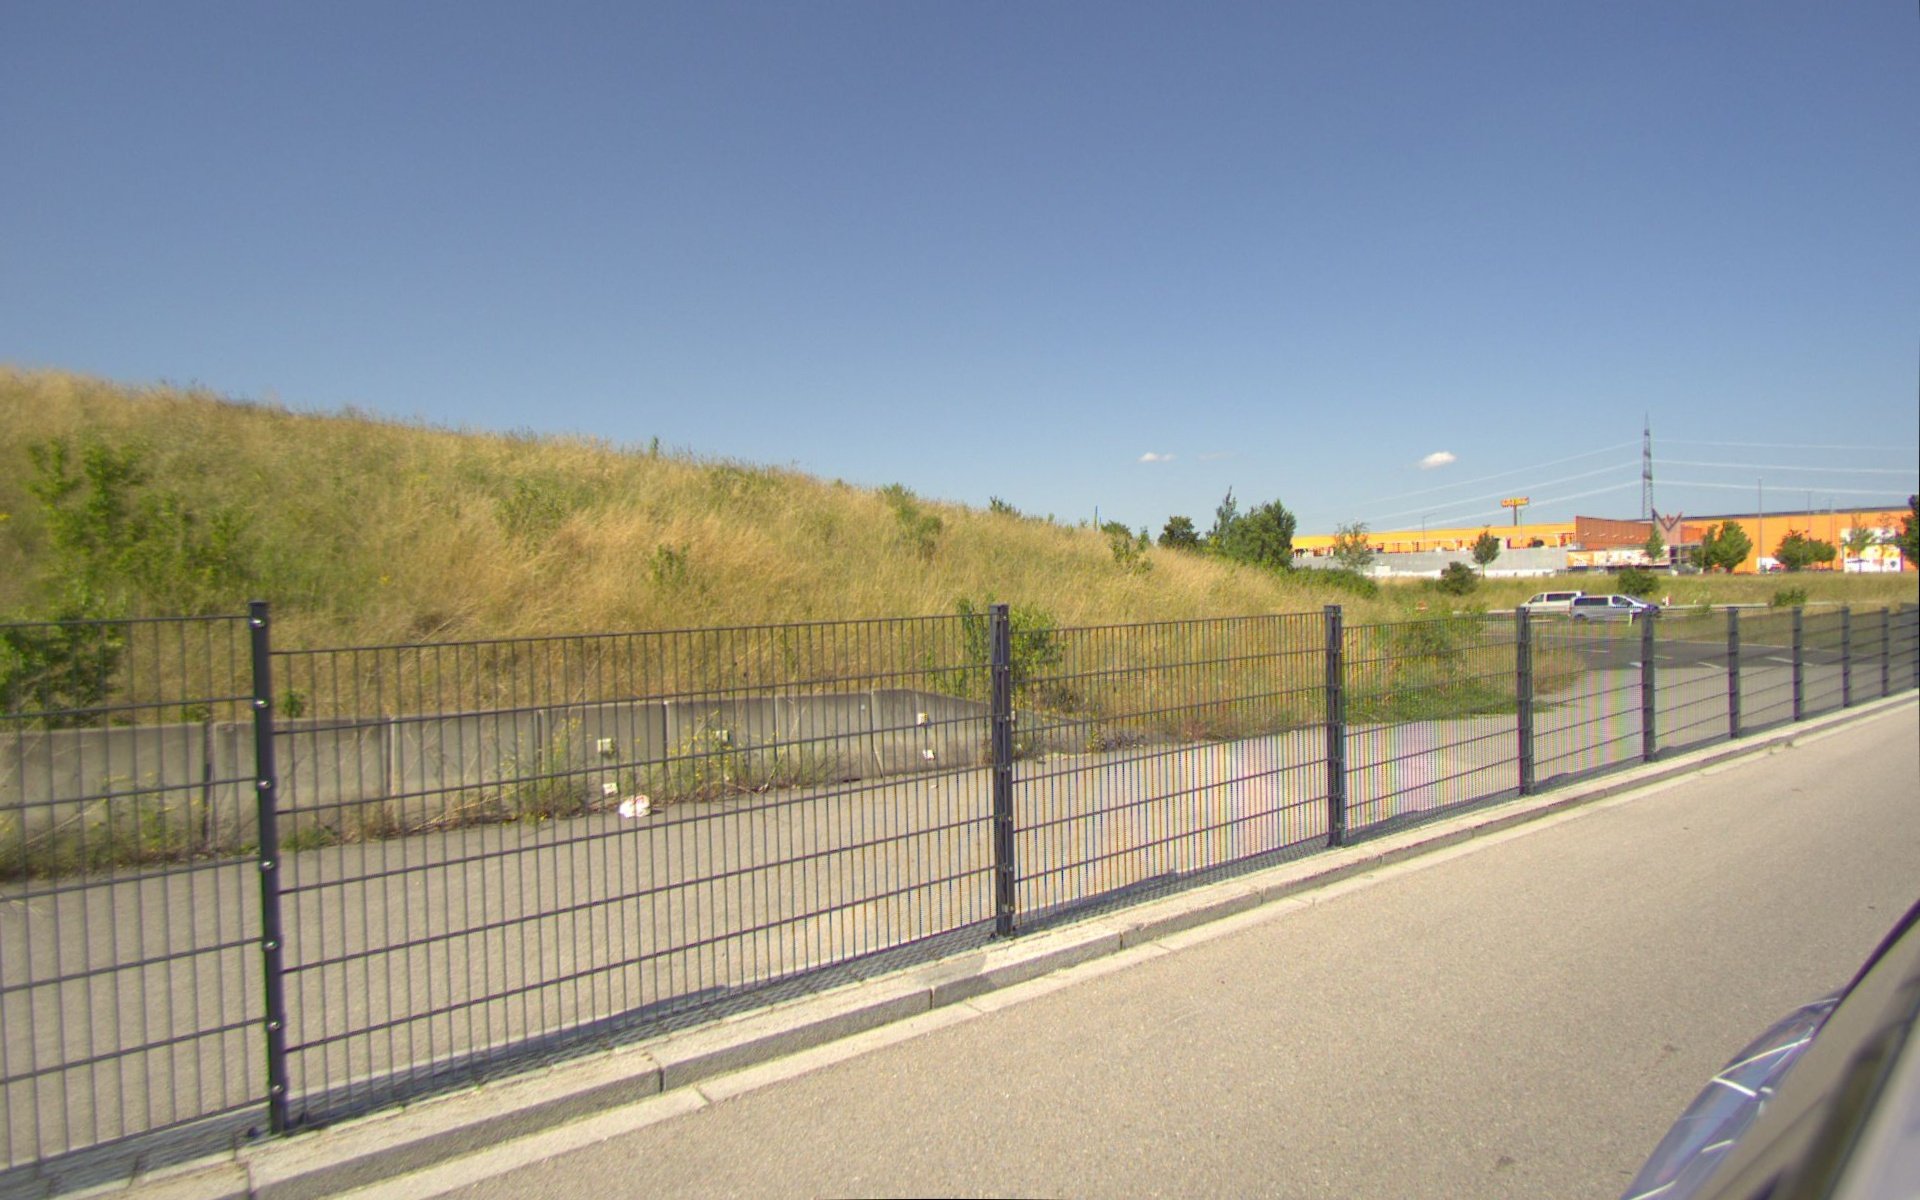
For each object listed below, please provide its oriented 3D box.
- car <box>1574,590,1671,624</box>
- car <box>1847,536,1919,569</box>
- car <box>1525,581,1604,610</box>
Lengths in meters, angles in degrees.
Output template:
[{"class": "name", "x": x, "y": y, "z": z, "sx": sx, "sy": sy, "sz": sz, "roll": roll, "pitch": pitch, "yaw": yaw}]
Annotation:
[{"class": "car", "x": 41.463, "y": 0.427, "z": 63.431, "sx": 1.966, "sy": 2.039, "sz": 4.749, "roll": -1, "pitch": 0, "yaw": -42}, {"class": "car", "x": 78.109, "y": -3.976, "z": 85.434, "sx": 1.967, "sy": 2.581, "sz": 4.625, "roll": -1, "pitch": 0, "yaw": -43}, {"class": "car", "x": 44.629, "y": -0.315, "z": 74.809, "sx": 1.966, "sy": 2.039, "sz": 4.626, "roll": -1, "pitch": 0, "yaw": -42}]
